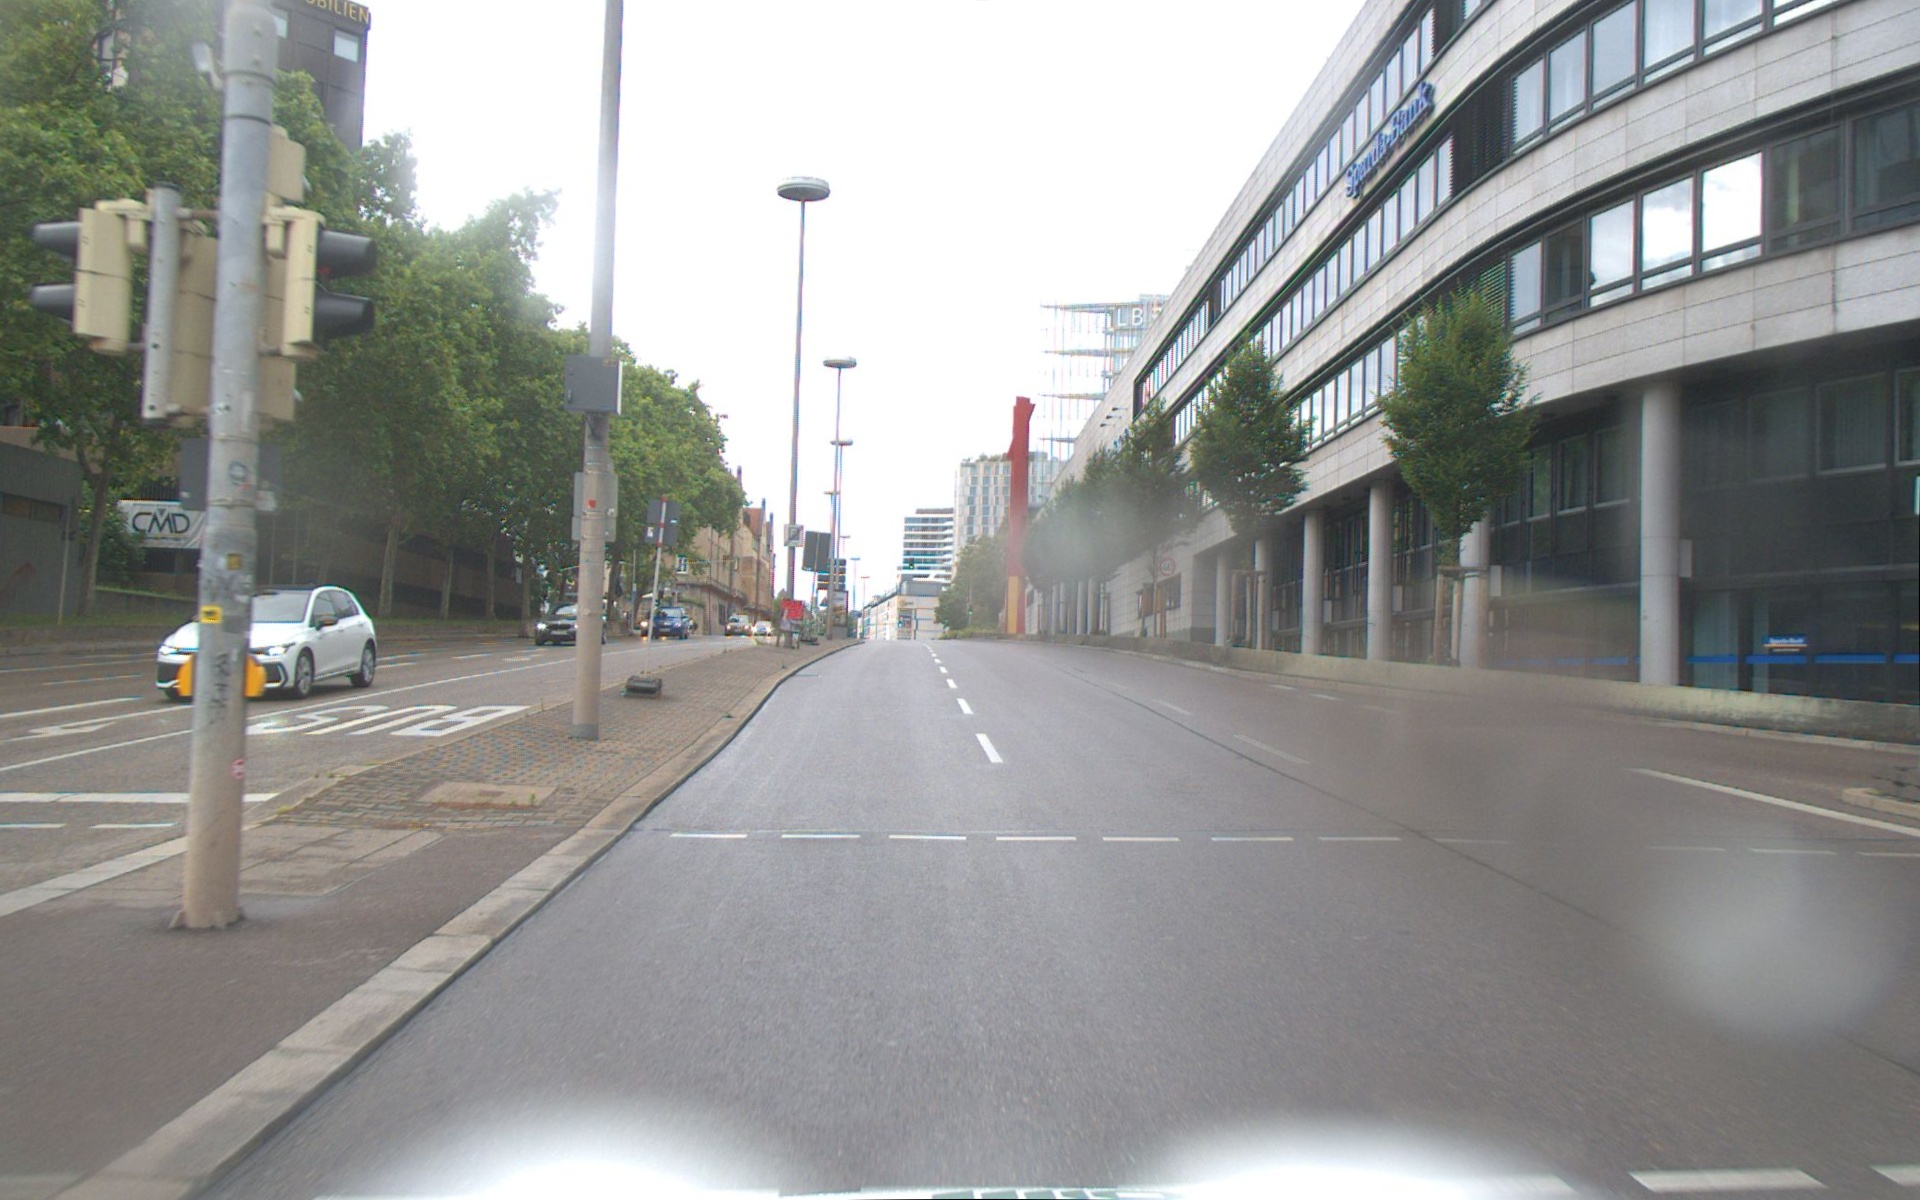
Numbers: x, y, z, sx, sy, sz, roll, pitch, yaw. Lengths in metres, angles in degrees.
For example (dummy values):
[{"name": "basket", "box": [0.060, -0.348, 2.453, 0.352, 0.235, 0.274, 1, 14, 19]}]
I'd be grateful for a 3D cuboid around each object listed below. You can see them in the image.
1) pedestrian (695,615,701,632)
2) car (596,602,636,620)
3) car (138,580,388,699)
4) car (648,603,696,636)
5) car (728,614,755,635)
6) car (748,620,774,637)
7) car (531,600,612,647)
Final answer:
[{"name": "pedestrian", "box": [-26.041, 2.332, 164.514, 0.488, 1.639, 0.500, 1, -3, 1]}, {"name": "car", "box": [-33.481, 1.088, 160.986, 3.557, 1.730, 1.823, 0, -2, -5]}, {"name": "car", "box": [-9.456, 0.488, 22.832, 1.725, 1.486, 4.358, 0, 0, -2]}, {"name": "car", "box": [-13.673, 0.930, 78.714, 1.575, 1.499, 4.066, 1, -1, -1]}, {"name": "car", "box": [-14.960, 1.683, 113.356, 1.654, 1.435, 3.995, 0, -1, -5]}, {"name": "car", "box": [-17.901, 2.563, 149.079, 1.782, 1.428, 3.999, 0, -2, 0]}, {"name": "car", "box": [-12.558, 0.729, 53.675, 1.771, 1.474, 4.338, 0, 0, -2]}]
